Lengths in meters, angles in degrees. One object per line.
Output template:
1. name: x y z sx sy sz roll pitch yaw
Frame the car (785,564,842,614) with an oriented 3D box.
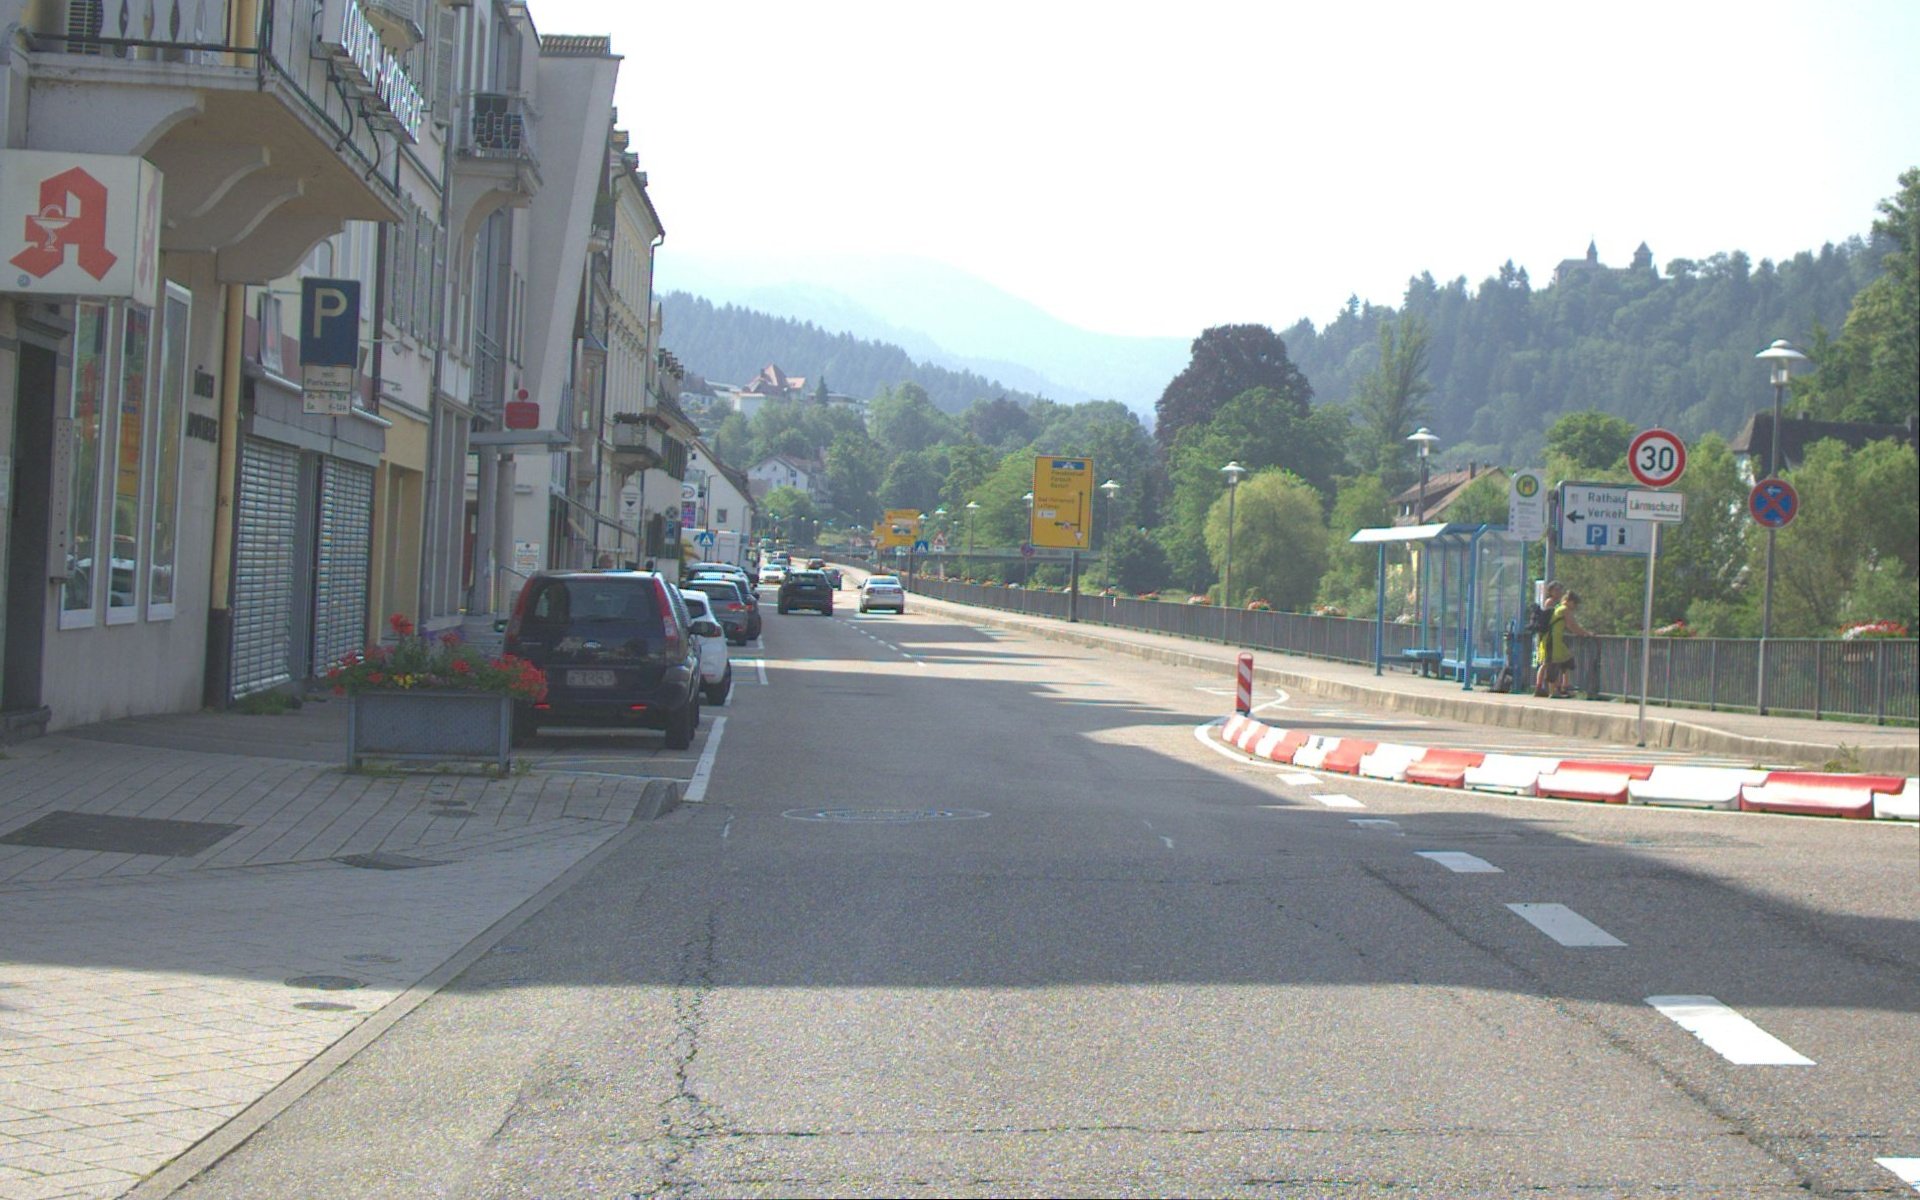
1. car: -5.379 -0.418 126.068 1.993 1.656 4.001 3 1 -3

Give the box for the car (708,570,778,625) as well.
1. car: -5.032 -0.066 79.682 1.563 1.216 3.277 2 0 -4

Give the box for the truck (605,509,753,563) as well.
1. truck: -18.517 -4.206 226.826 9.174 3.253 3.081 1 1 -29

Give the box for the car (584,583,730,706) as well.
1. car: -3.852 0.542 44.135 1.747 1.443 3.795 2 0 -4

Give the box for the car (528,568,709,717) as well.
1. car: -3.532 0.414 36.018 1.747 1.443 3.277 2 0 -4

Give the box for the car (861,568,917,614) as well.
1. car: -2.778 -0.366 133.564 1.993 1.656 4.001 3 1 -3

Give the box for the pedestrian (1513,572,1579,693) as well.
1. pedestrian: 8.426 0.461 49.474 0.789 1.700 0.492 2 0 -1

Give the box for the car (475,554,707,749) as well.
1. car: -3.186 0.411 30.228 1.846 1.563 3.568 2 0 -4

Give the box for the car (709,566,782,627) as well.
1. car: -5.364 -0.103 85.843 1.747 1.443 3.277 2 0 -4

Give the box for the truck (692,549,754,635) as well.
1. truck: -7.047 -0.265 102.377 1.747 2.459 4.662 2 0 -4

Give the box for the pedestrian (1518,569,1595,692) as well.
1. pedestrian: 8.468 0.427 48.828 0.866 1.700 0.777 2 0 -1

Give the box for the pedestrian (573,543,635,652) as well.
1. pedestrian: -5.631 -0.035 54.377 0.689 1.691 0.659 2 0 25
